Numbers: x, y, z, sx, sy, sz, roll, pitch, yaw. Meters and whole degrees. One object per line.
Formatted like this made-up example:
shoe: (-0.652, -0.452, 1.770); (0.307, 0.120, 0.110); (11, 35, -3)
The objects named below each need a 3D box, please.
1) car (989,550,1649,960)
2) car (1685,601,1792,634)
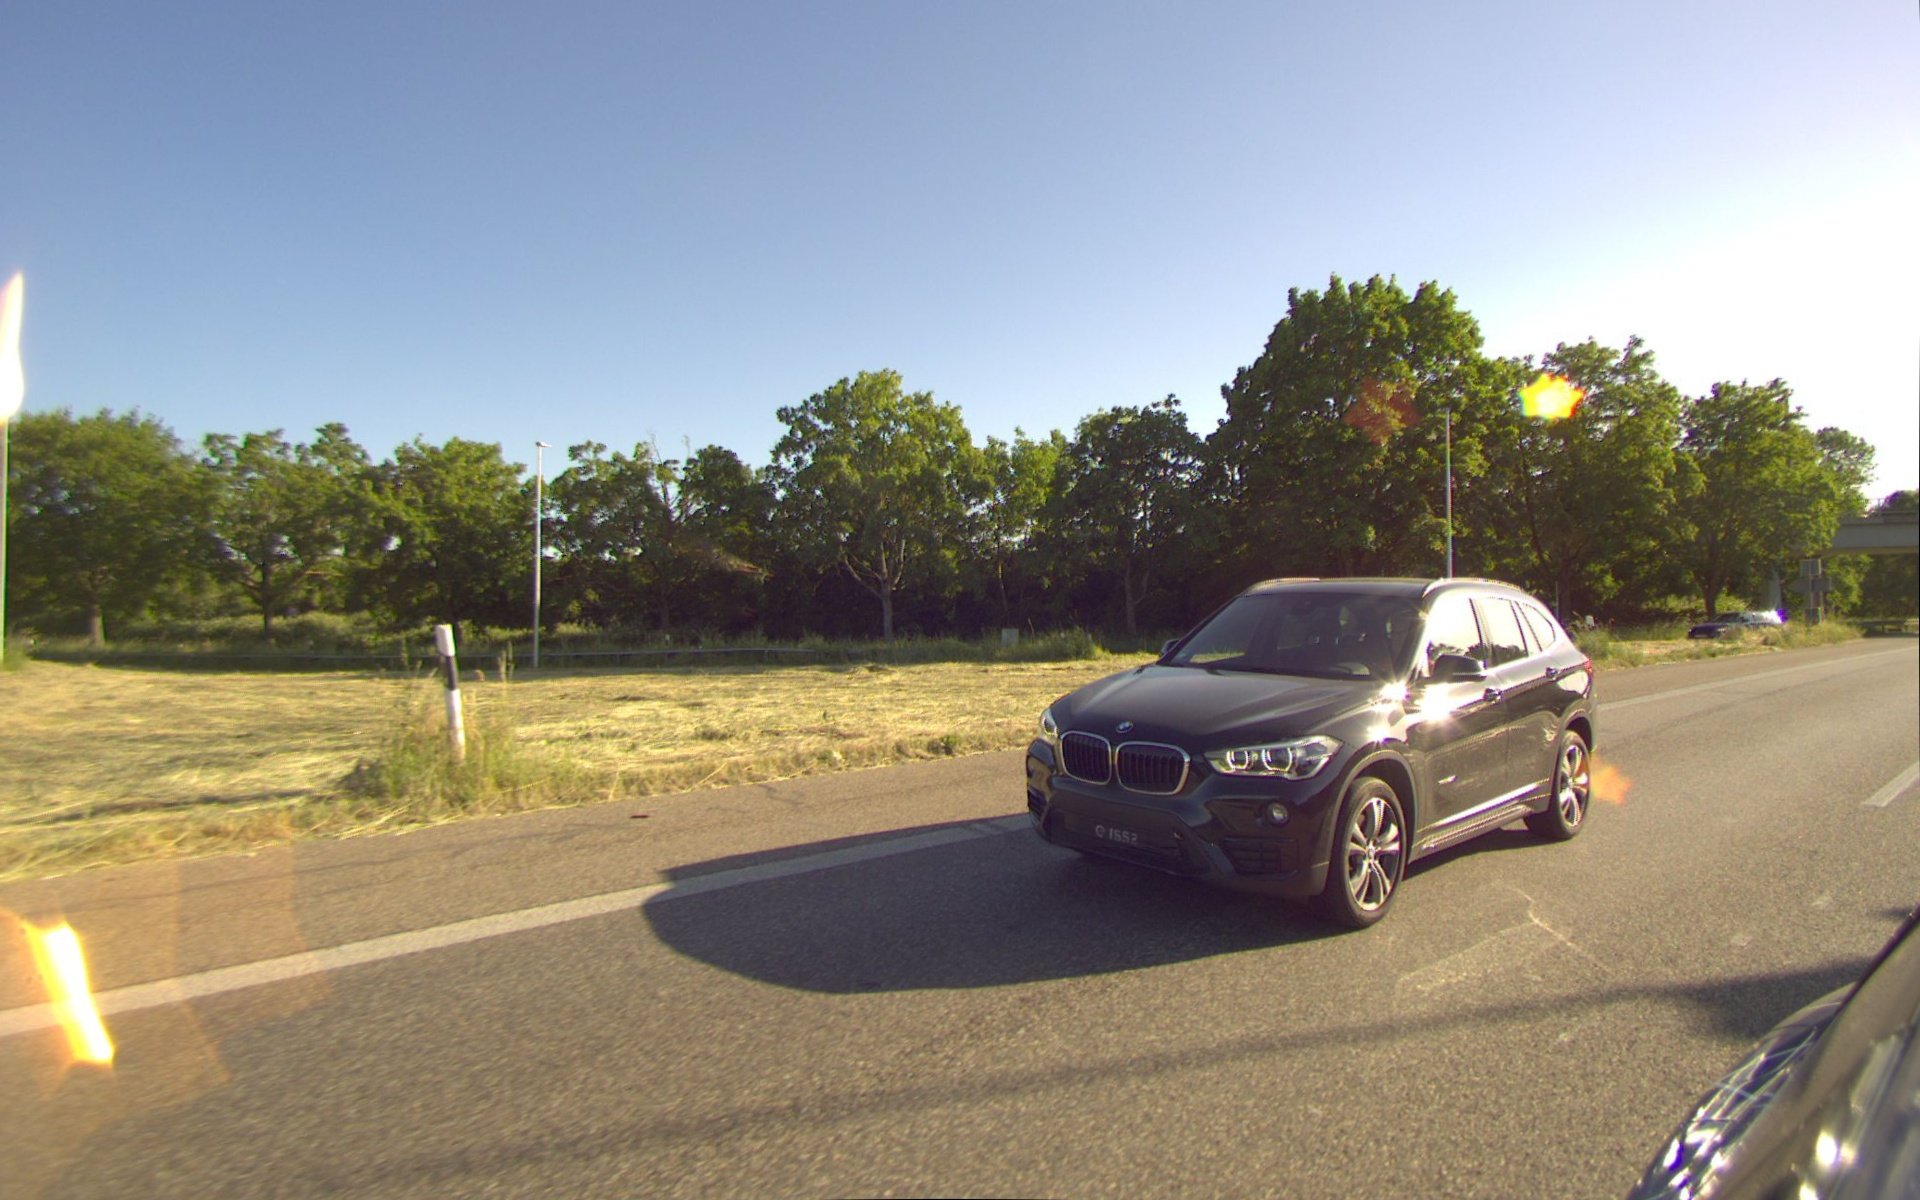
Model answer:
car: (2.403, 0.612, 6.057); (4.441, 1.593, 1.758); (1, 0, -41)
car: (34.924, 0.762, 45.437); (3.970, 1.427, 1.768); (0, -1, -16)
